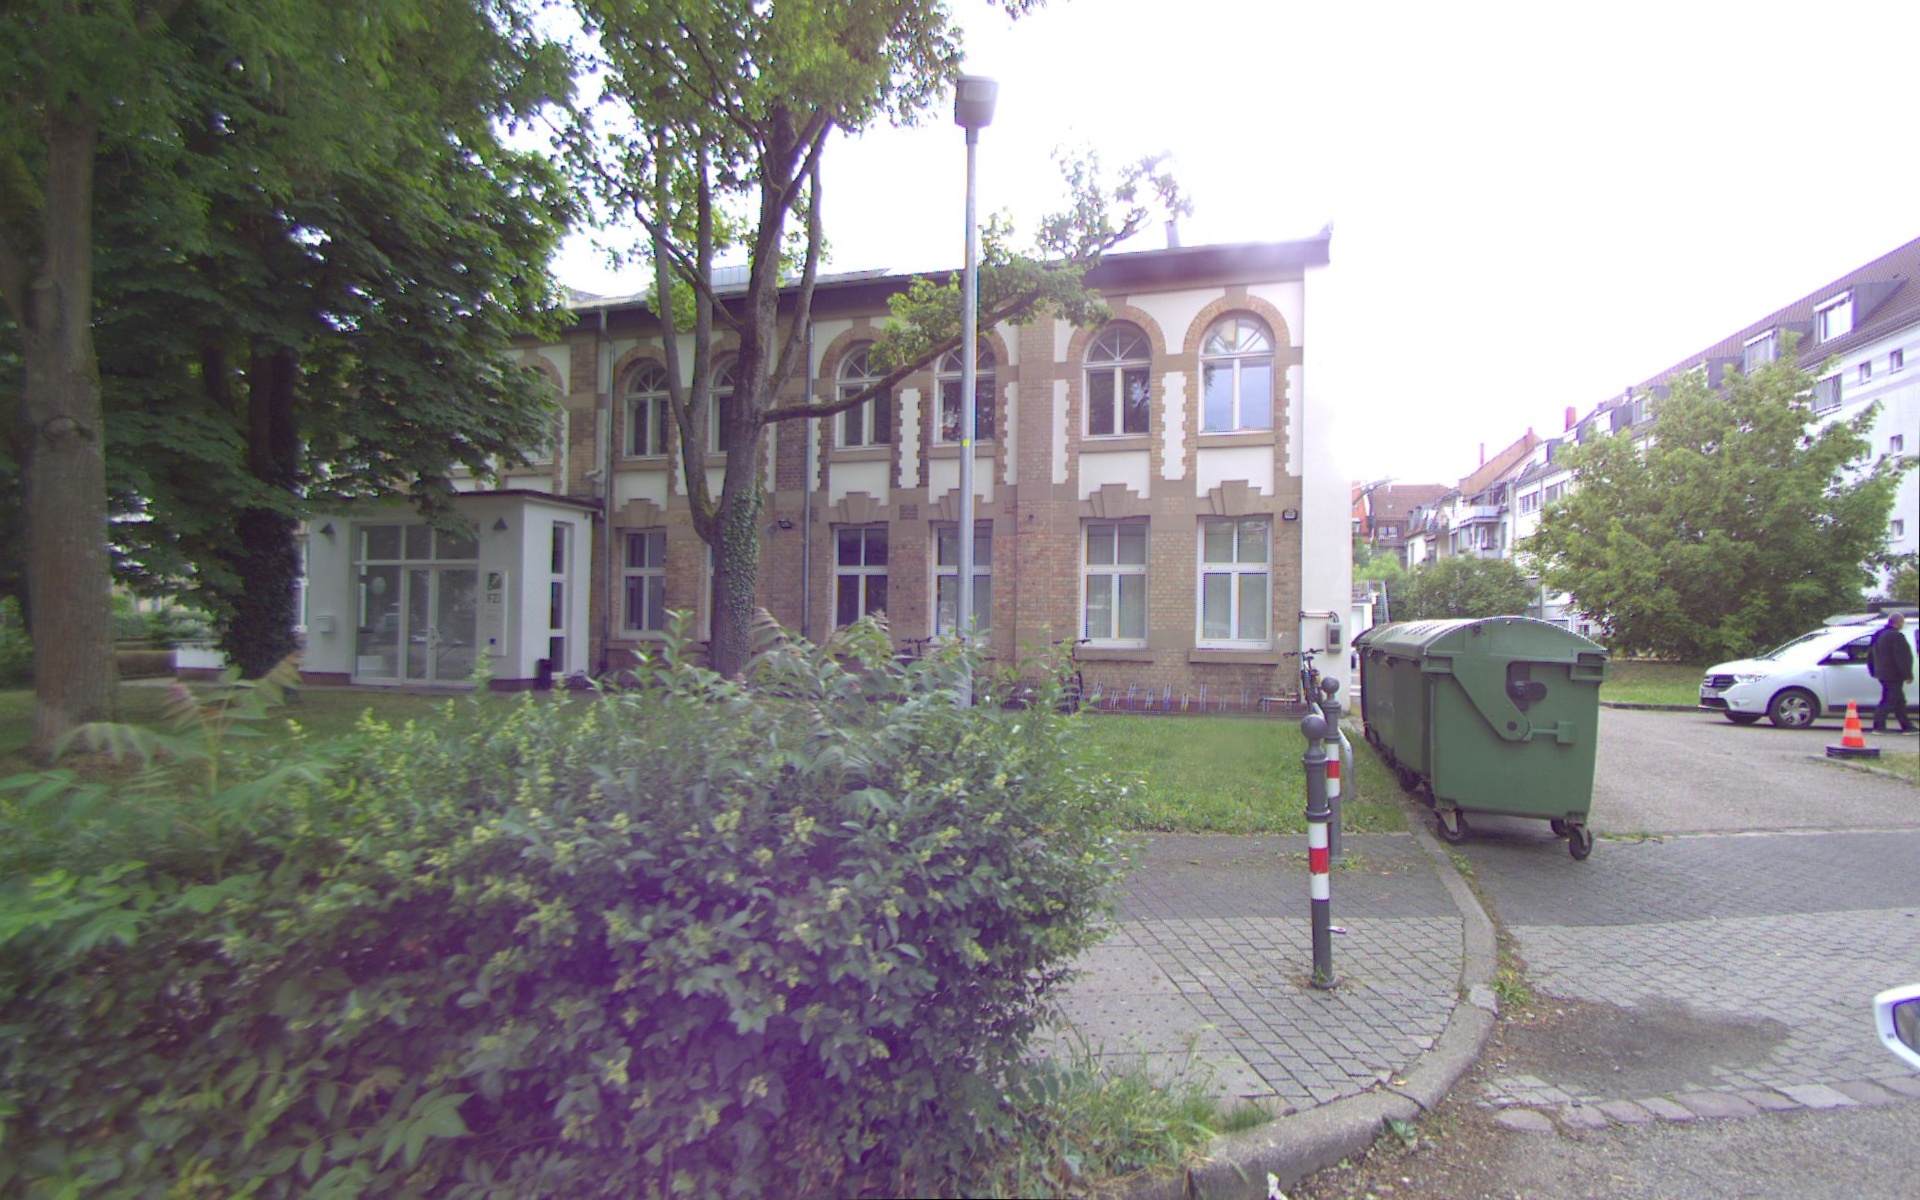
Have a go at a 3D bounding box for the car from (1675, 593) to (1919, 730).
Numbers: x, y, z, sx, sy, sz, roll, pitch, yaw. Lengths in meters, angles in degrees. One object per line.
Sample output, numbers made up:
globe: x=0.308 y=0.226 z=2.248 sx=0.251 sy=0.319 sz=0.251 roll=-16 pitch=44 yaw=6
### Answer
car: x=14.446 y=0.988 z=16.266 sx=4.263 sy=2.040 sz=1.856 roll=1 pitch=-2 yaw=13

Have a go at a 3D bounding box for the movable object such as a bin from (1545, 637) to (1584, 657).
movable object such as a bin: x=20.242 y=1.586 z=33.639 sx=0.949 sy=0.645 sz=0.911 roll=1 pitch=-3 yaw=19

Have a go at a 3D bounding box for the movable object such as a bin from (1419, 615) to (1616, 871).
movable object such as a bin: x=3.647 y=0.846 z=6.700 sx=1.036 sy=1.469 sz=1.353 roll=0 pitch=0 yaw=26

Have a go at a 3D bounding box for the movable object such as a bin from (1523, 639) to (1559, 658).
movable object such as a bin: x=20.859 y=1.754 z=36.081 sx=0.949 sy=0.645 sz=0.911 roll=1 pitch=-3 yaw=19

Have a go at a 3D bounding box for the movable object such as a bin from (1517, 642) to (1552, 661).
movable object such as a bin: x=21.176 y=1.892 z=37.038 sx=0.949 sy=0.688 sz=0.811 roll=1 pitch=-2 yaw=19

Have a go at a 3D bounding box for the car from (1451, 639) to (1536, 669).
car: x=30.067 y=3.030 z=56.713 sx=3.919 sy=1.595 sz=1.586 roll=0 pitch=-1 yaw=7

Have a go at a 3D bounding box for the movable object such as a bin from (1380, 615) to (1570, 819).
movable object such as a bin: x=4.089 y=0.882 z=8.120 sx=1.034 sy=1.475 sz=1.355 roll=1 pitch=-2 yaw=12

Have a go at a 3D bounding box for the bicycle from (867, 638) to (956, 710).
bicycle: x=-0.789 y=1.232 z=17.174 sx=0.607 sy=1.134 sz=2.220 roll=0 pitch=-2 yaw=23

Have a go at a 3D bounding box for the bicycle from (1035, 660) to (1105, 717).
bicycle: x=1.846 y=1.436 z=16.613 sx=0.607 sy=0.824 sz=1.944 roll=0 pitch=-2 yaw=23

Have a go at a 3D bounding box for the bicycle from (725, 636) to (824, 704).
bicycle: x=-3.291 y=1.228 z=18.076 sx=0.607 sy=1.134 sz=2.220 roll=0 pitch=-2 yaw=23

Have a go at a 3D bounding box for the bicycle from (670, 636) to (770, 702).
bicycle: x=-4.419 y=1.245 z=18.689 sx=0.607 sy=1.134 sz=2.220 roll=0 pitch=-2 yaw=23

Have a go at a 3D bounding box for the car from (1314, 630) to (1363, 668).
car: x=16.423 y=2.128 z=43.750 sx=1.817 sy=1.527 sz=4.002 roll=1 pitch=-3 yaw=18

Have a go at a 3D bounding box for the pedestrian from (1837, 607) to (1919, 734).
pedestrian: x=13.748 y=1.041 z=14.969 sx=0.741 sy=1.832 sz=0.699 roll=0 pitch=-3 yaw=13

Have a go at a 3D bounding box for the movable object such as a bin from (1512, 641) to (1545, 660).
movable object such as a bin: x=21.488 y=1.920 z=37.972 sx=0.949 sy=0.688 sz=0.871 roll=1 pitch=-3 yaw=19

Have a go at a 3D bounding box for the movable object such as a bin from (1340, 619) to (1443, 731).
movable object such as a bin: x=5.352 y=0.889 z=12.422 sx=1.037 sy=1.281 sz=1.351 roll=0 pitch=-1 yaw=30

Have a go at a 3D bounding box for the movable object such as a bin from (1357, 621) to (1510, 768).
movable object such as a bin: x=4.472 y=0.848 z=9.606 sx=1.034 sy=1.281 sz=1.355 roll=0 pitch=-1 yaw=12

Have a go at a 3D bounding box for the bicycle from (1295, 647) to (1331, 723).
bicycle: x=5.493 y=1.296 z=15.674 sx=0.388 sy=1.079 sz=1.829 roll=0 pitch=-1 yaw=15

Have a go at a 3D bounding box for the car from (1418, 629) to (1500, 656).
car: x=30.959 y=2.627 z=62.384 sx=4.111 sy=1.595 sz=2.001 roll=0 pitch=-1 yaw=7

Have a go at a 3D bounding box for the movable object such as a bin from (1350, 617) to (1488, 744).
movable object such as a bin: x=4.946 y=0.834 z=10.937 sx=1.034 sy=1.281 sz=1.355 roll=0 pitch=-1 yaw=9

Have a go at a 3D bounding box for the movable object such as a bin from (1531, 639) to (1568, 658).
movable object such as a bin: x=20.447 y=1.675 z=34.848 sx=0.949 sy=0.645 sz=0.911 roll=1 pitch=-3 yaw=19
